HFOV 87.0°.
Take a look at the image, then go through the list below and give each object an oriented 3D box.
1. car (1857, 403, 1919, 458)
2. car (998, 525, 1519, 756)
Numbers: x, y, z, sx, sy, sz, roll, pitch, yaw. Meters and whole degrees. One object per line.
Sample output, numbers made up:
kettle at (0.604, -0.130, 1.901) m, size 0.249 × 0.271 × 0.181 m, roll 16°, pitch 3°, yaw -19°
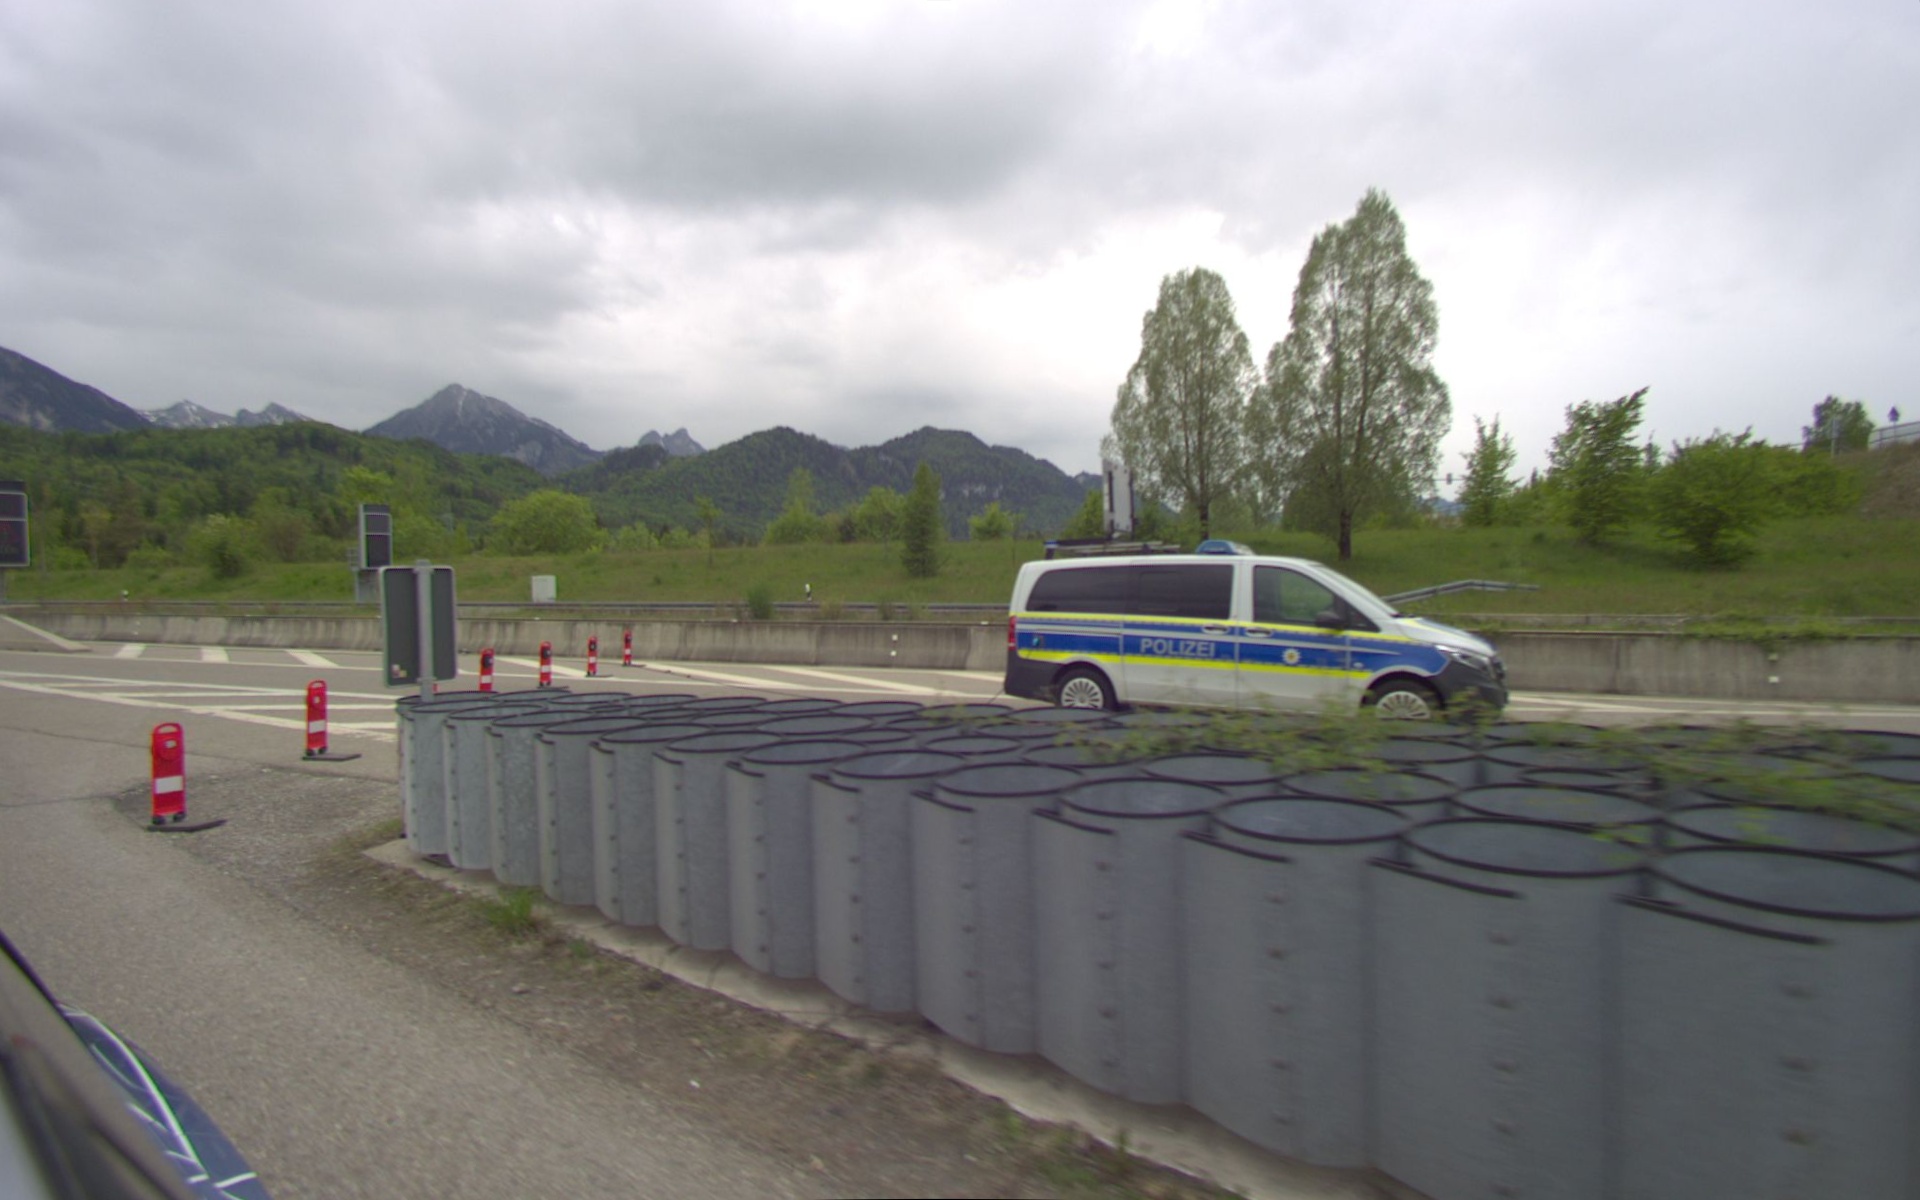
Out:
car at (54.419, -9.748, 57.483) m, size 1.974 × 2.268 × 5.745 m, roll 0°, pitch -2°, yaw 4°
car at (3.150, 0.347, 11.036) m, size 5.023 × 2.029 × 2.273 m, roll 0°, pitch 0°, yaw 26°
